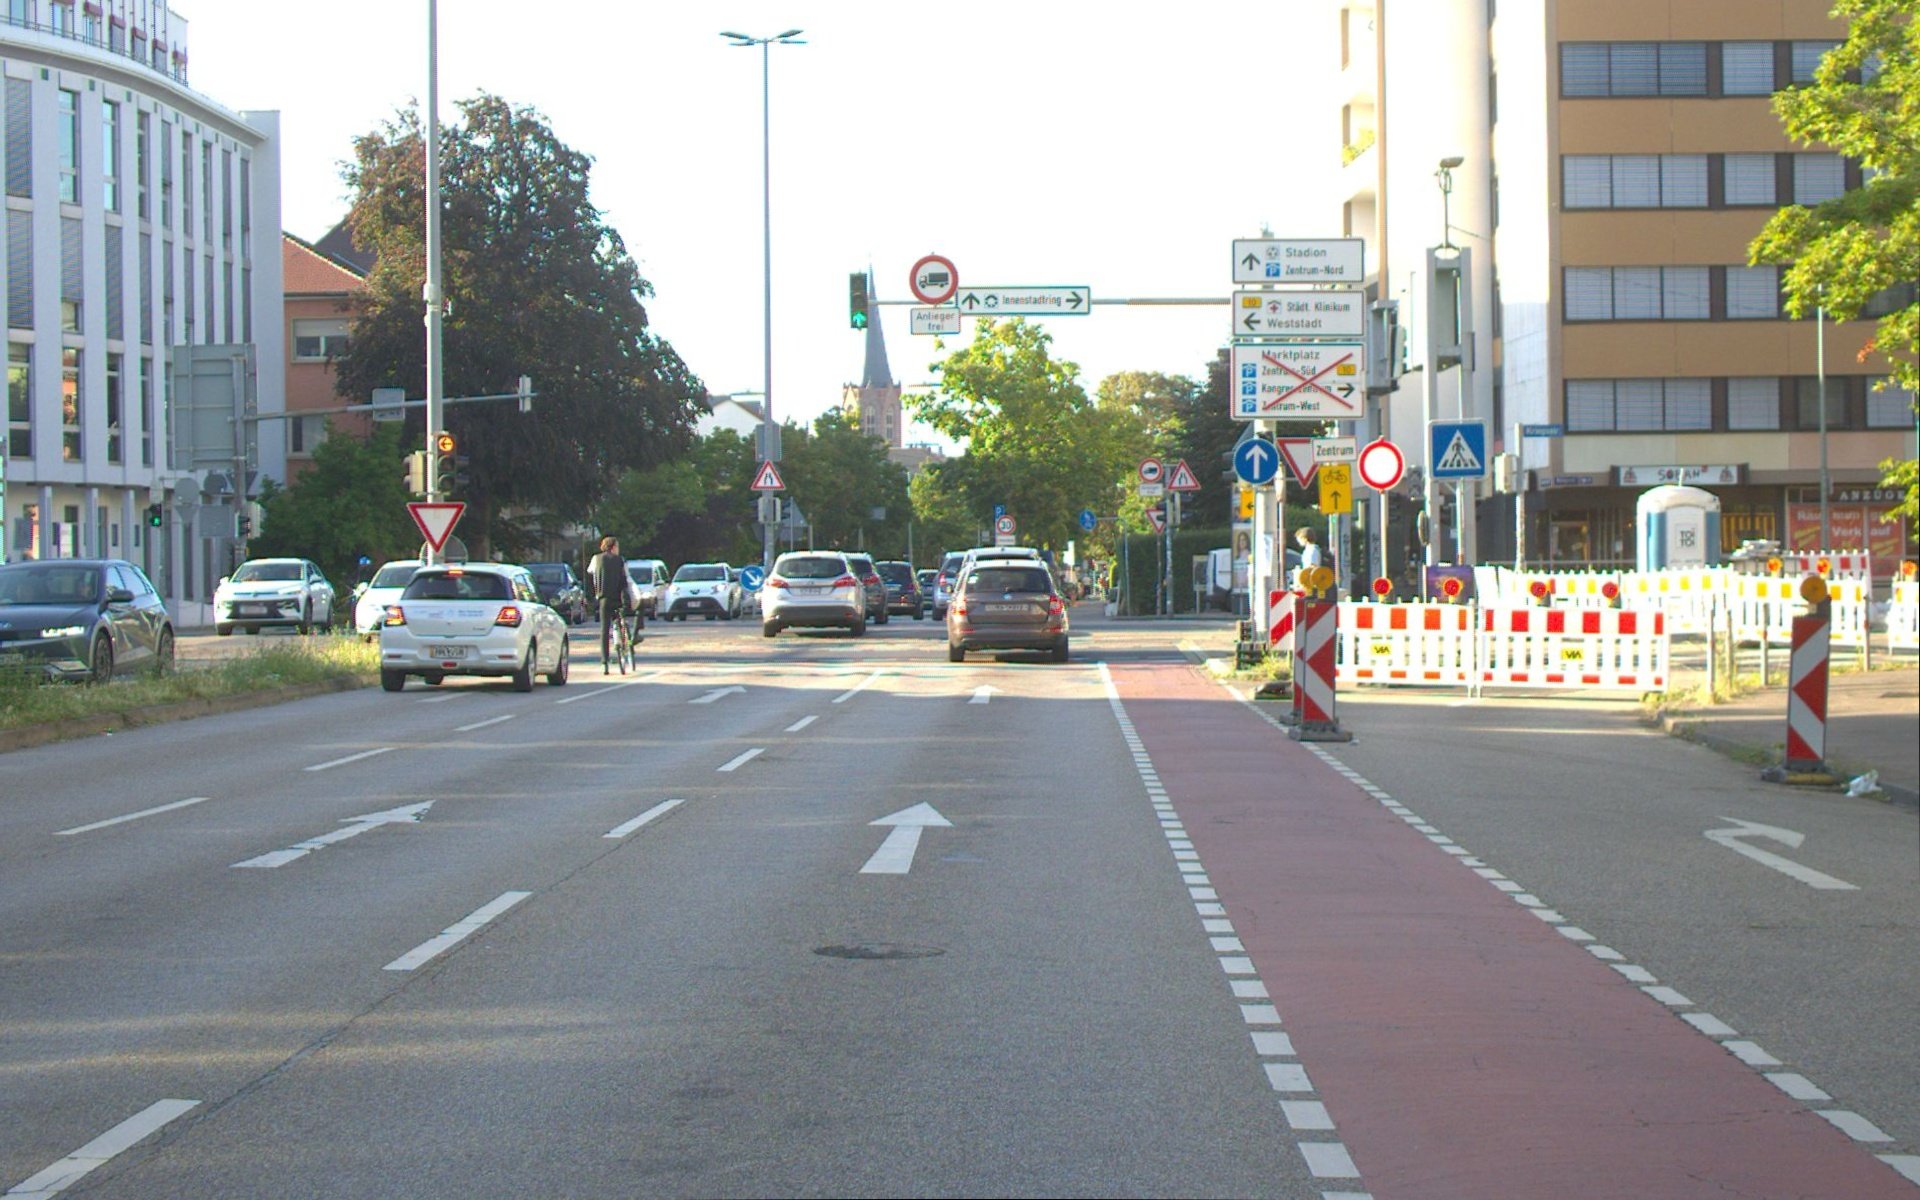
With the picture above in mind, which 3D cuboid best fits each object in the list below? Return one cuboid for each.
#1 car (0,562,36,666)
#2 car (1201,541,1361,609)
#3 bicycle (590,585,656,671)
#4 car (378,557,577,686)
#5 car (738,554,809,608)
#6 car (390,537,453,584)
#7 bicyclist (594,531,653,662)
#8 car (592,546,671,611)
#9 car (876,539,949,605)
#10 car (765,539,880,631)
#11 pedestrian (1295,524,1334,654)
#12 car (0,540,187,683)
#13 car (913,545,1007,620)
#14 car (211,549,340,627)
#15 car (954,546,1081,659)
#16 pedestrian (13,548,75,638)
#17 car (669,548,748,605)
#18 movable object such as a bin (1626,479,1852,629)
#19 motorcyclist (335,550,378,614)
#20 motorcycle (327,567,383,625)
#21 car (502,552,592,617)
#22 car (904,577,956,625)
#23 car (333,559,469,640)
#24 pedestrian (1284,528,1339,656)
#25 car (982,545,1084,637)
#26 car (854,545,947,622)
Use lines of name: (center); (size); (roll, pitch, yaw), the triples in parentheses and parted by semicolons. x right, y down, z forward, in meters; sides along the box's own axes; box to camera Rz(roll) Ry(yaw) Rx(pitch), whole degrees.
car: (-14.061, 0.223, 46.042); (1.994, 1.408, 4.443); (-2, 1, 2)
car: (9.156, -0.708, 98.399); (4.363, 1.871, 2.000); (-1, 0, 0)
bicycle: (-4.468, 0.361, 45.722); (0.699, 1.096, 2.258); (-1, 1, -1)
car: (-5.665, 0.219, 40.784); (1.685, 1.452, 4.000); (0, 1, 2)
car: (-5.221, -0.552, 96.622); (1.847, 1.456, 4.050); (-1, 1, -1)
car: (-18.271, -1.339, 116.773); (1.841, 1.566, 4.001); (-1, 1, -6)
bicyclist: (-4.481, -0.054, 45.798); (0.691, 1.722, 0.988); (-1, 0, -2)
car: (-9.525, -0.640, 99.971); (1.915, 1.805, 4.718); (-1, 1, -1)
car: (-1.217, -0.731, 89.333); (1.664, 1.652, 4.000); (-1, 1, 2)
car: (-2.408, -0.279, 61.127); (1.748, 1.559, 4.049); (-1, 1, 2)
pedestrian: (5.108, -0.163, 49.470); (0.521, 1.862, 0.614); (-1, 0, 7)
car: (-10.641, 0.104, 40.329); (1.993, 1.573, 4.899); (-1, 1, 1)
car: (0.009, -0.373, 76.695); (1.993, 1.503, 4.000); (-2, -1, 0)
car: (-13.703, -0.272, 69.050); (1.685, 1.493, 4.514); (-1, 1, 0)
car: (0.868, 0.003, 50.198); (1.748, 1.559, 4.049); (-1, 1, 2)
pedestrian: (-19.031, -0.153, 71.431); (0.627, 1.862, 1.125); (-1, 0, 28)
car: (-6.627, -0.638, 90.843); (1.847, 1.456, 4.050); (-1, 1, -1)
movable object such as a bin: (12.716, -0.748, 56.201); (3.328, 2.375, 1.529); (-1, 0, 1)
motorcyclist: (-13.588, -0.402, 77.422); (0.770, 1.414, 1.238); (-1, 0, -1)
motorcycle: (-13.598, -0.109, 77.352); (0.770, 1.280, 2.843); (-1, 1, -1)
car: (-9.839, -0.391, 82.158); (1.658, 1.489, 4.000); (-1, 1, 0)
car: (-1.074, 0.037, 123.282); (1.664, 1.652, 4.000); (-1, 1, 2)
car: (-10.060, -0.037, 62.118); (1.685, 1.387, 4.181); (-1, 1, 1)
pedestrian: (4.986, -0.111, 48.767); (0.741, 1.793, 0.715); (-1, 0, 7)
car: (1.323, -0.181, 63.831); (1.819, 1.634, 4.000); (-1, 1, 0)
car: (-1.223, -0.365, 72.127); (1.748, 1.559, 4.049); (-1, 1, 2)
